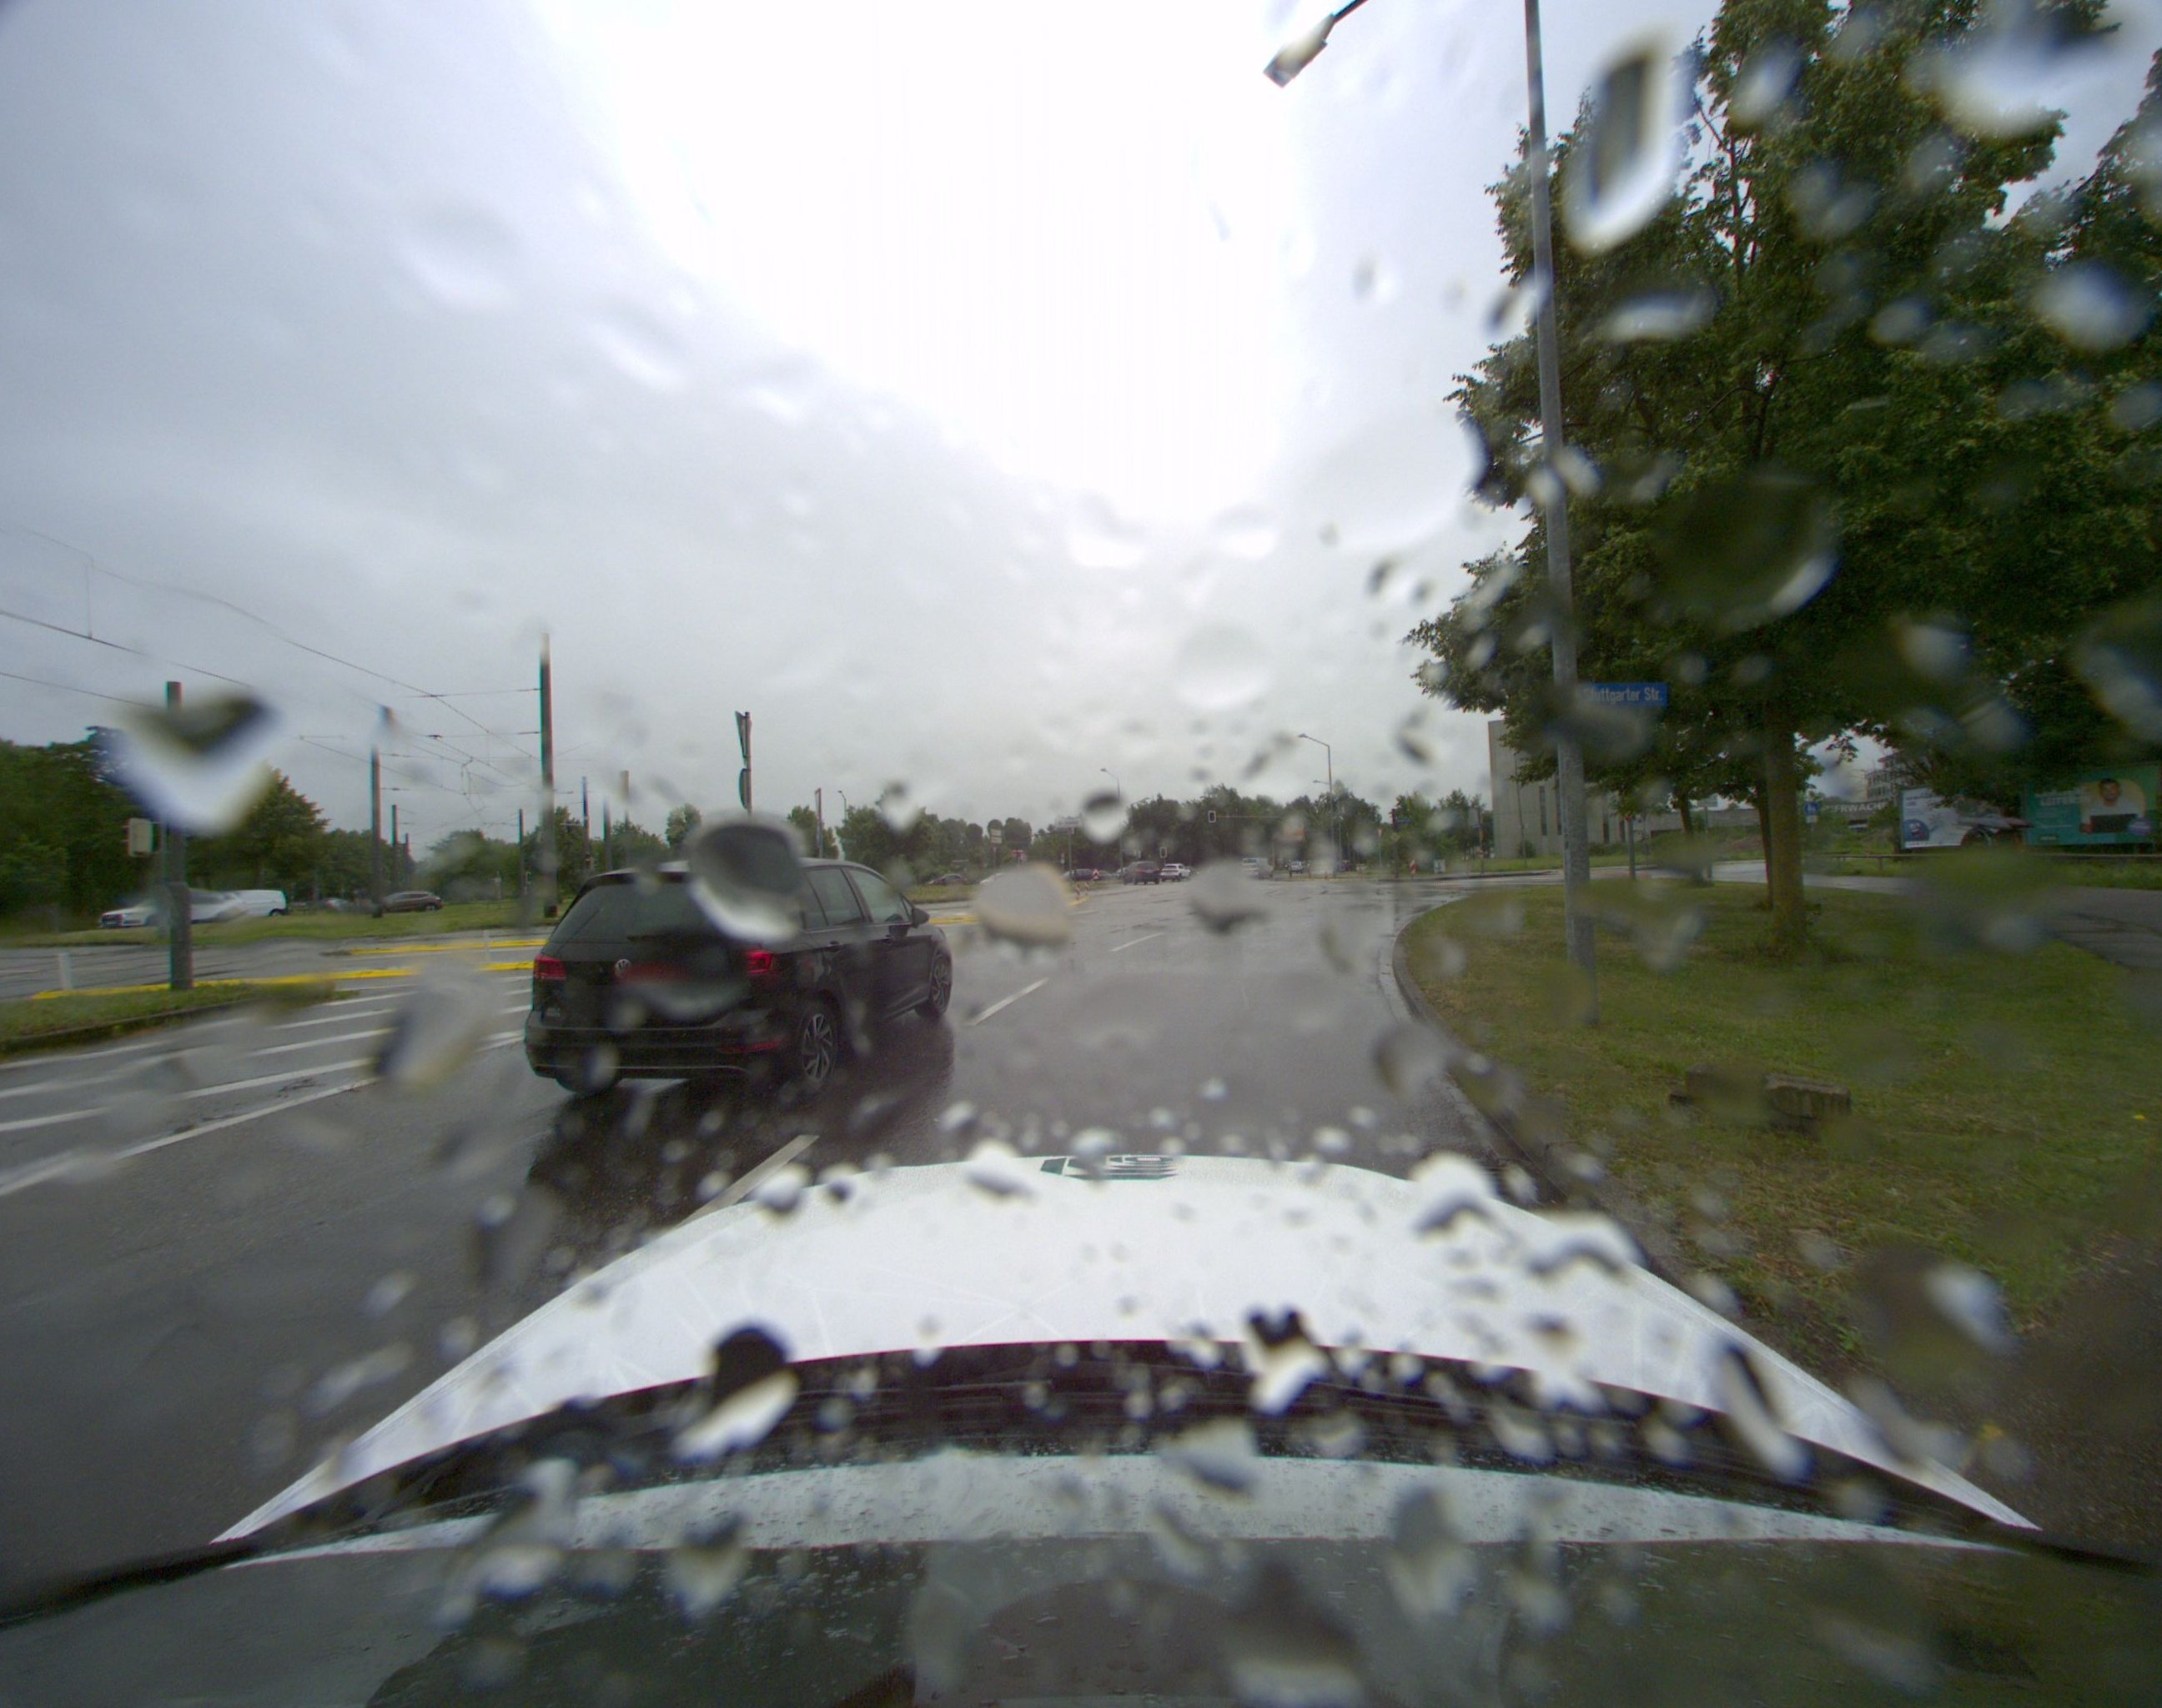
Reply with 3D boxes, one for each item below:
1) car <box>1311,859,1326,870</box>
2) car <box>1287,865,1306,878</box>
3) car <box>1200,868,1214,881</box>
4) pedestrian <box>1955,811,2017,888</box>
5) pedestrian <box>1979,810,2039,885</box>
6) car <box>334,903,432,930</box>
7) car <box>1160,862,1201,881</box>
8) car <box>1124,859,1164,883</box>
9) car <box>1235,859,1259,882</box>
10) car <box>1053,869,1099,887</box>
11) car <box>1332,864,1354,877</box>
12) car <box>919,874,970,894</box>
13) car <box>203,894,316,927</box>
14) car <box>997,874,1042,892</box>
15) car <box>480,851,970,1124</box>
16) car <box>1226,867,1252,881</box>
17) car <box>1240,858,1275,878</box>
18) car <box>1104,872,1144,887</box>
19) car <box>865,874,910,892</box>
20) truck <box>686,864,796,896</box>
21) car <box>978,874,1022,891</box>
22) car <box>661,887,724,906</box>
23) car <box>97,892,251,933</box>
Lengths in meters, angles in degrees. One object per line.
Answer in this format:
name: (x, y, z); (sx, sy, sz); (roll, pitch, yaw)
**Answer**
car: (43.981, 1.955, 150.827); (1.771, 2.014, 3.696); (-1, -2, 32)
car: (26.966, 2.216, 101.725); (1.673, 1.492, 3.270); (-3, -1, 26)
car: (16.404, 2.718, 106.132); (1.773, 1.648, 4.403); (0, -2, 8)
pedestrian: (21.452, -0.090, 19.303); (0.812, 1.784, 0.913); (1, -2, -40)
pedestrian: (22.559, -0.134, 19.804); (0.812, 1.784, 0.913); (1, -2, -40)
car: (-44.924, 3.992, 52.504); (1.591, 1.492, 4.576); (-2, -2, 42)
car: (9.004, 1.620, 73.595); (1.665, 1.648, 3.970); (-2, -2, 44)
car: (4.491, 1.226, 58.741); (1.785, 1.648, 3.981); (0, -2, -13)
car: (14.065, 1.358, 68.686); (1.771, 1.811, 4.854); (-3, -1, 13)
car: (-0.467, 2.278, 76.679); (4.005, 1.648, 1.775); (1, -2, -24)
car: (31.547, 1.964, 98.092); (1.672, 1.492, 3.272); (-3, -1, 32)
car: (-11.833, 2.592, 70.639); (4.005, 1.648, 1.775); (1, -2, -24)
car: (-47.336, 3.197, 47.036); (1.816, 1.724, 4.180); (-1, -2, 14)
car: (-5.877, 2.776, 77.699); (4.005, 1.648, 1.775); (1, -2, -24)
car: (-2.335, 0.803, 6.784); (1.774, 1.517, 4.339); (0, -2, 6)
car: (17.087, 2.192, 87.918); (1.672, 1.492, 3.271); (-1, -2, 34)
car: (18.097, 1.476, 83.302); (1.766, 2.036, 4.024); (-2, -2, 40)
car: (4.628, 2.784, 87.833); (4.009, 1.574, 1.661); (1, -2, -28)
car: (-18.266, 2.692, 76.803); (4.000, 1.648, 1.777); (0, -2, -20)
truck: (-29.722, 2.235, 71.665); (8.796, 2.711, 1.987); (0, -2, -20)
car: (-8.120, 2.804, 81.657); (4.005, 1.648, 1.775); (1, -2, -24)
car: (-31.583, 3.428, 66.342); (4.551, 1.492, 1.600); (1, -2, -22)
car: (-43.622, 2.765, 39.361); (1.764, 1.744, 4.869); (0, -2, 3)
